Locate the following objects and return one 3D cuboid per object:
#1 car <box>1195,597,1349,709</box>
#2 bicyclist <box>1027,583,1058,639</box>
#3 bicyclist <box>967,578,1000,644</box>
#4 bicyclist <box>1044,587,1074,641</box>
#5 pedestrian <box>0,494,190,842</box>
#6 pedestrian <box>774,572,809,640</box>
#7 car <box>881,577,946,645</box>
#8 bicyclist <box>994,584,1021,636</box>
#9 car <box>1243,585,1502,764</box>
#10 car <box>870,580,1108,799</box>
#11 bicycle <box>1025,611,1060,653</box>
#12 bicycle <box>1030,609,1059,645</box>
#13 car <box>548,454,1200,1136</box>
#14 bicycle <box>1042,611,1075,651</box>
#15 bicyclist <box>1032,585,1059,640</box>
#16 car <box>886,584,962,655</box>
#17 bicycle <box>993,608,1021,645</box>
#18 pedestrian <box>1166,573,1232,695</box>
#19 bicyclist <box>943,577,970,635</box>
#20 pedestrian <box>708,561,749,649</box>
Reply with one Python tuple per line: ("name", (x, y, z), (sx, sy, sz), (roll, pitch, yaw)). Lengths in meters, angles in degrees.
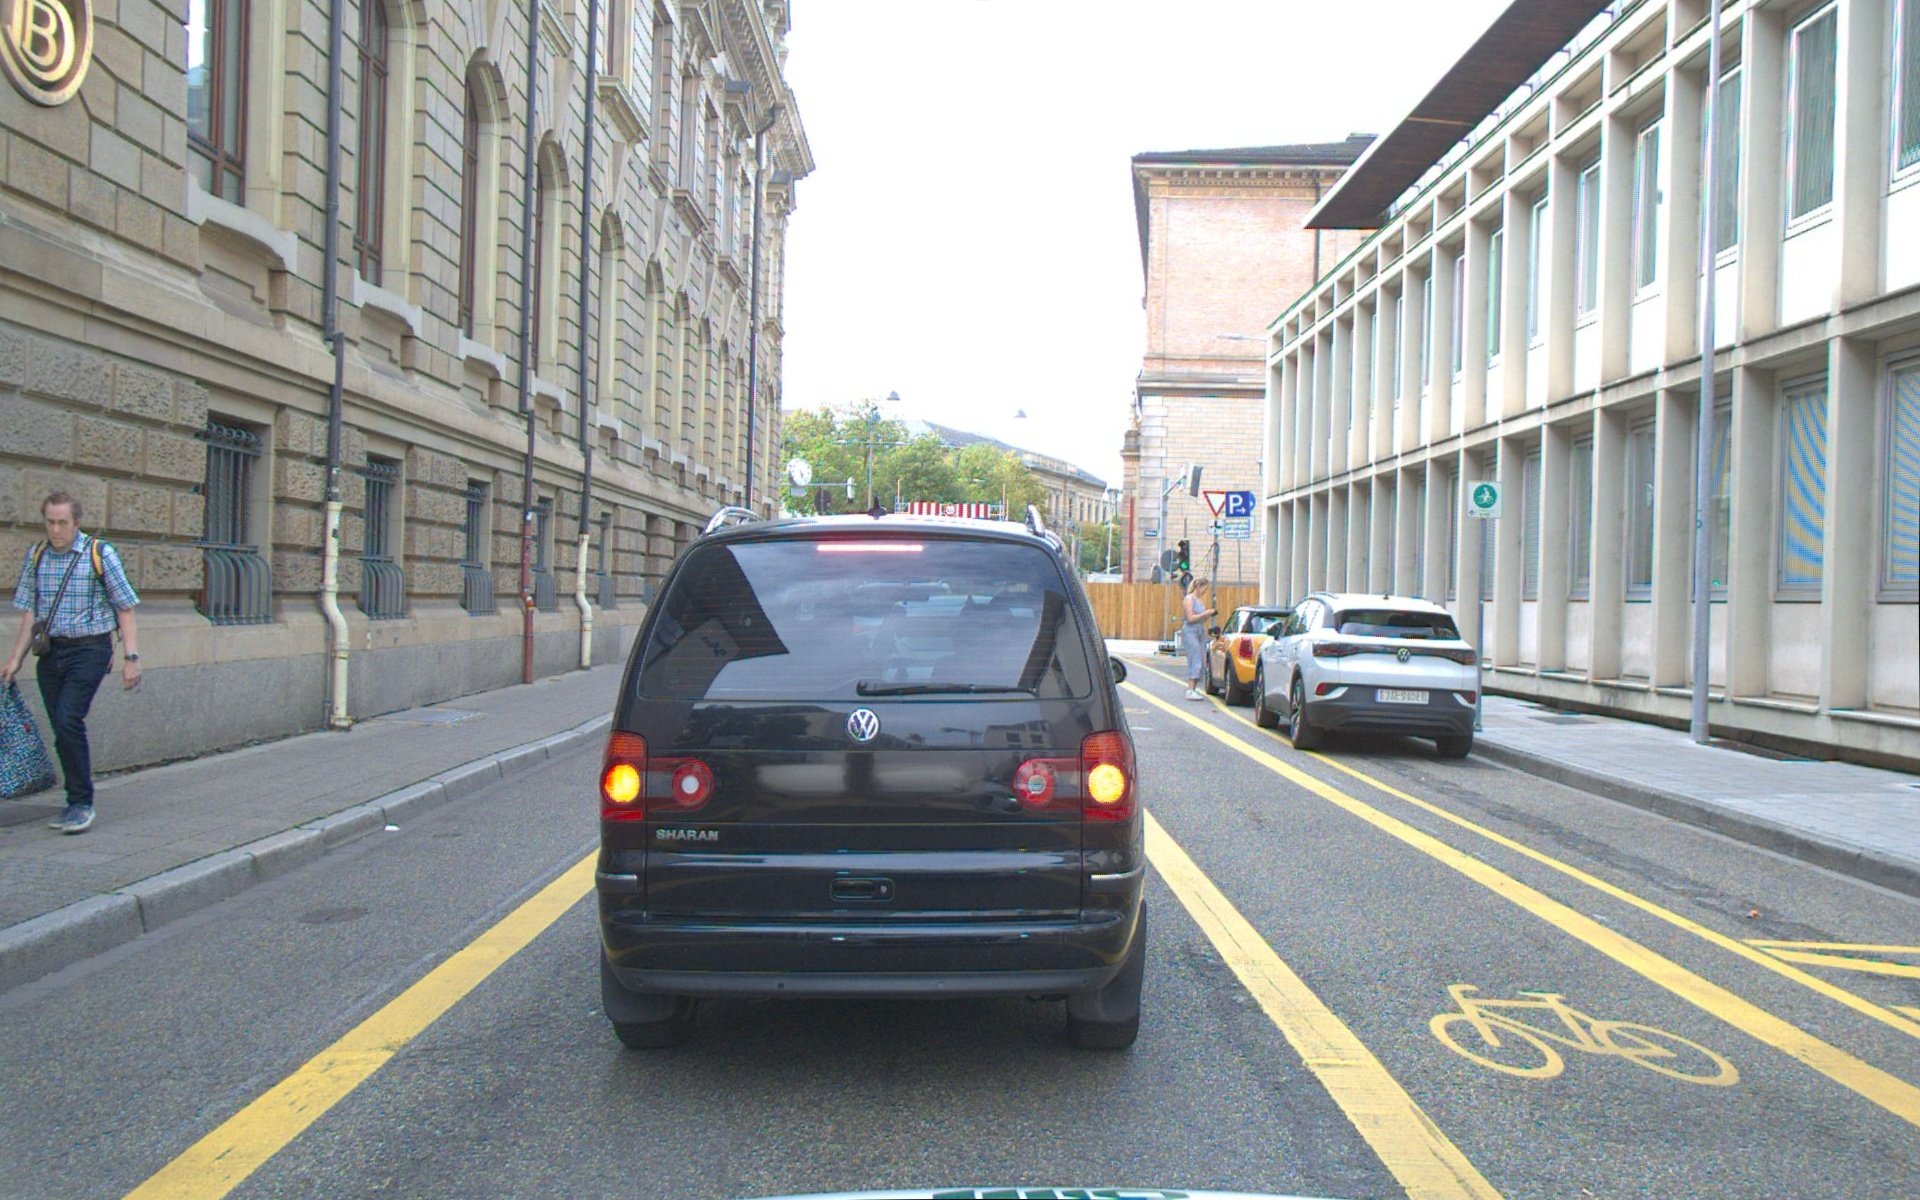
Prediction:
("car", (4.666, 0.753, 25.204), (1.645, 1.459, 3.887), (4, 0, 2))
("bicyclist", (2.073, 0.274, 41.590), (0.720, 1.401, 0.828), (1, 0, -1))
("bicyclist", (0.530, 0.249, 38.143), (0.720, 1.504, 0.884), (1, 0, -1))
("bicyclist", (2.612, 0.374, 43.864), (0.720, 1.399, 0.831), (1, 0, -1))
("pedestrian", (-4.875, 0.339, 8.880), (1.005, 1.750, 0.818), (3, -1, -1))
("pedestrian", (-4.667, 0.167, 45.909), (0.776, 1.851, 1.048), (3, -1, -1))
("car", (-1.366, 0.295, 47.244), (1.700, 1.821, 4.100), (2, 0, -4))
("bicyclist", (1.370, 0.295, 47.866), (0.720, 1.495, 0.808), (1, 0, -1))
("car", (4.458, 0.738, 18.578), (1.822, 1.633, 4.513), (4, 0, 2))
("car", (0.279, 0.637, 13.721), (1.643, 1.495, 4.104), (1, 0, 2))
("bicycle", (2.058, 0.790, 41.582), (0.720, 1.026, 2.068), (1, 0, -1))
("bicycle", (2.494, 0.781, 48.846), (0.720, 1.026, 2.068), (1, 0, -1))
("car", (-0.167, 0.538, 6.601), (1.752, 1.821, 4.104), (1, 0, 2))
("bicycle", (2.601, 0.808, 43.877), (0.720, 1.026, 2.068), (1, 0, -1))
("bicyclist", (2.510, 0.363, 48.746), (0.720, 1.582, 0.895), (1, 0, -1))
("car", (-0.867, 0.450, 40.247), (1.737, 1.613, 3.999), (1, 0, -1))
("bicycle", (1.356, 0.747, 47.856), (0.720, 1.026, 2.068), (1, 0, -1))
("pedestrian", (3.581, 0.502, 24.792), (0.695, 1.794, 0.694), (1, -1, -27))
("bicyclist", (-0.093, 0.184, 47.614), (0.720, 1.640, 0.694), (1, -1, -3))
("pedestrian", (-5.018, 0.100, 35.893), (0.650, 1.851, 1.048), (3, -1, -1))
